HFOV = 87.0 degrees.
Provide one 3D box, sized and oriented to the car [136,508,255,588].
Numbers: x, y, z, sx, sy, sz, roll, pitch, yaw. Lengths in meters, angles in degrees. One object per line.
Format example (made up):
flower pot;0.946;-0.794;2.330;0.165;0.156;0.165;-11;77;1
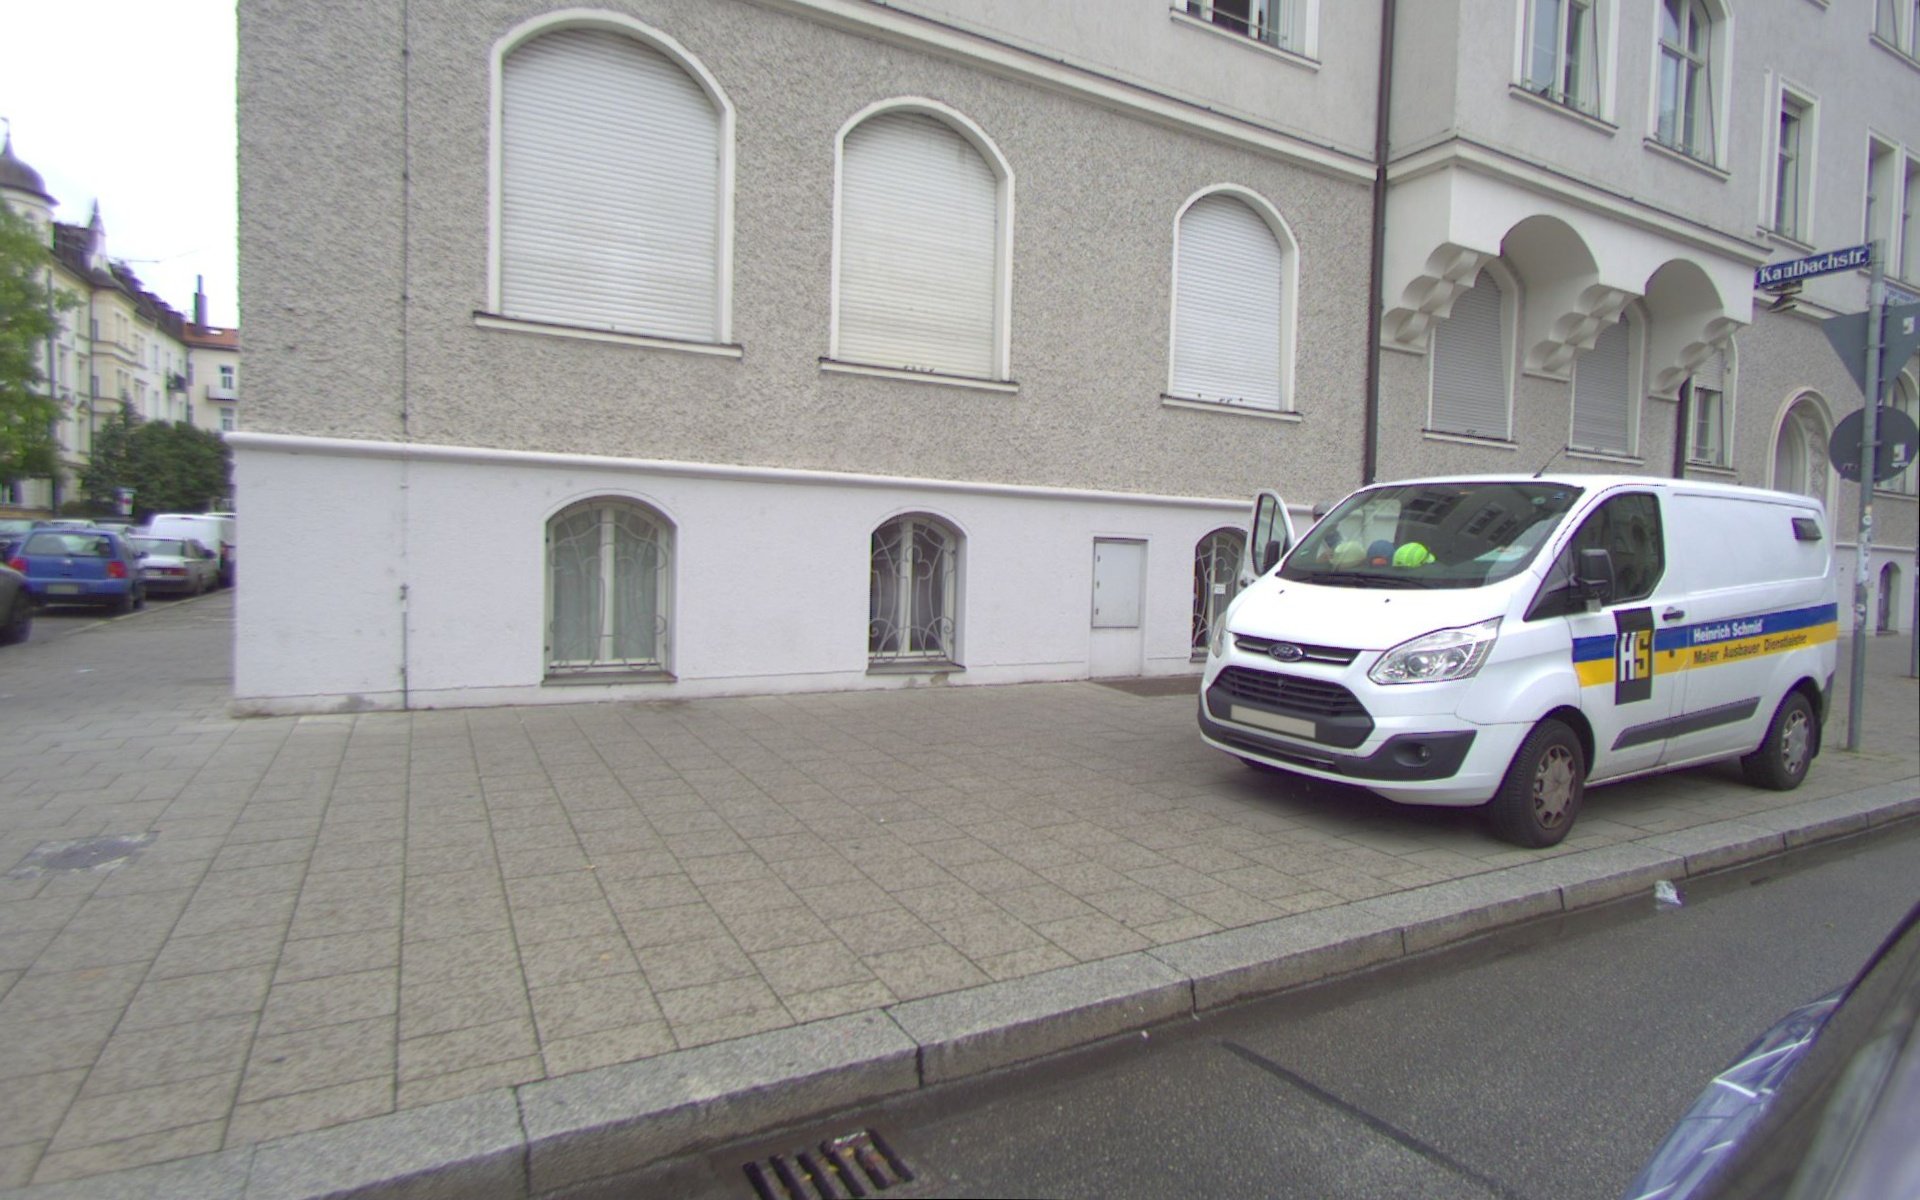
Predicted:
car;-19.972;-1.389;26.612;1.854;1.875;4.429;1;3;-29

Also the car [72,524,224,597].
car;-17.595;-0.911;22.143;1.854;1.391;4.429;1;3;-29

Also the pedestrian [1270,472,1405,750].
pedestrian;2.702;0.064;7.302;0.664;1.910;0.593;2;3;-1

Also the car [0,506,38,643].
car;-11.913;-0.267;10.971;1.854;1.636;4.429;1;3;-29

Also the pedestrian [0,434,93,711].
pedestrian;-7.266;-0.221;7.283;1.186;1.895;1.094;1;3;-16

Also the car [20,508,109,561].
car;-34.764;-2.564;39.394;1.739;1.908;4.074;0;3;-29

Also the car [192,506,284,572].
car;-22.751;-1.934;32.023;1.854;1.906;4.429;1;3;-29

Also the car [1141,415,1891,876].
car;3.666;0.119;6.420;4.829;1.985;1.925;0;4;-31

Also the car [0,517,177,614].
car;-15.449;-0.668;17.893;1.854;1.481;4.429;1;3;-29
